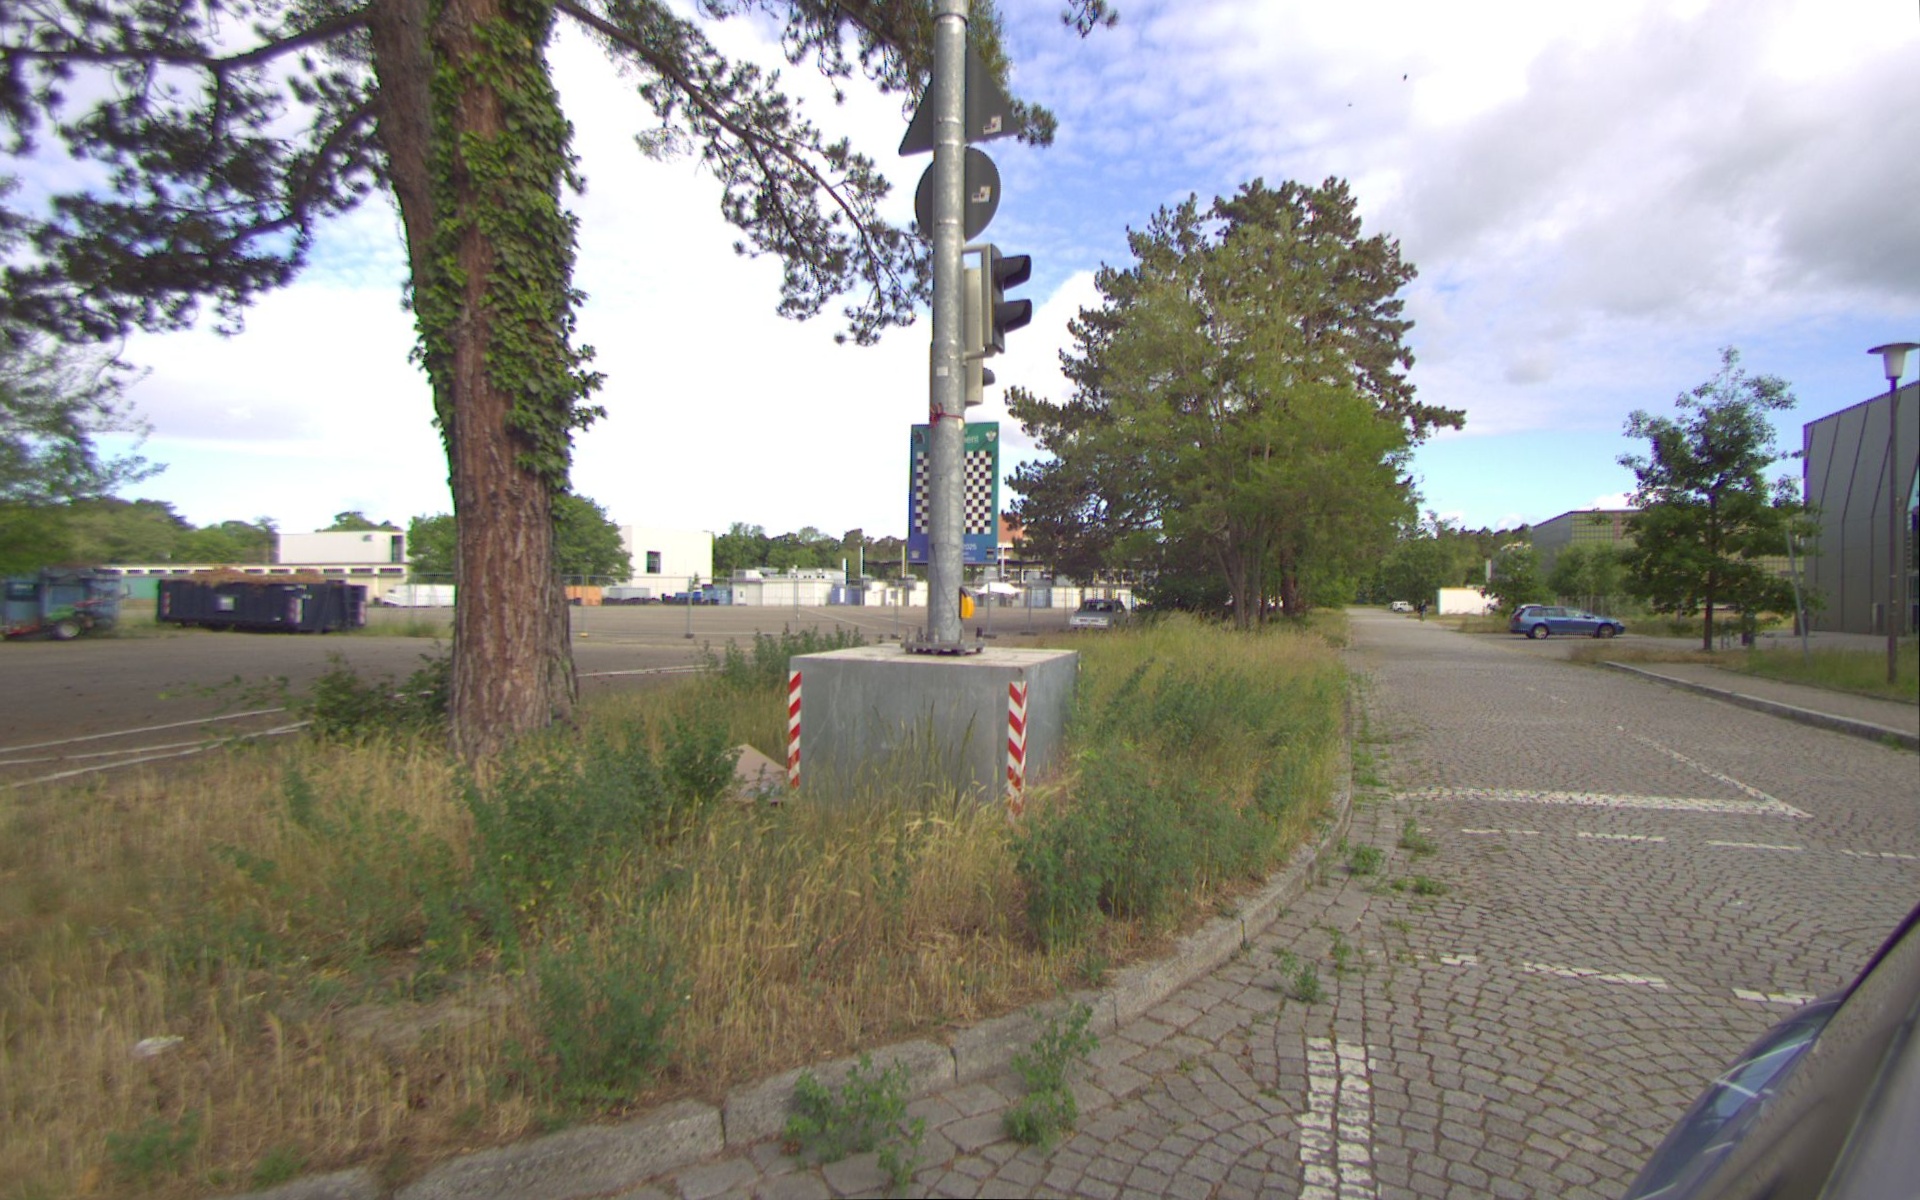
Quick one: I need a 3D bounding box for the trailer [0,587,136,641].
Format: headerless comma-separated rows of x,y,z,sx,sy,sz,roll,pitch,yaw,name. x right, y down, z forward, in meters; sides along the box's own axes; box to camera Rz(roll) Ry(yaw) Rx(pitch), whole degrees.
-20.900,0.330,23.637,1.129,1.185,2.304,0,-1,20,trailer

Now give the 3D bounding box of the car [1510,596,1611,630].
31.032,0.651,52.433,4.142,1.607,1.827,-2,-1,20,car

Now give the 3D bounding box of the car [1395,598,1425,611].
67.785,0.696,152.406,4.038,1.862,1.771,0,0,25,car

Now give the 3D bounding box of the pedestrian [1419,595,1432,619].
34.340,0.537,74.612,0.867,1.745,0.998,0,0,26,pedestrian

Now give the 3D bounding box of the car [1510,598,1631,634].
27.582,0.728,45.874,4.361,1.482,1.827,-2,-1,20,car

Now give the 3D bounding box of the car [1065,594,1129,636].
5.382,0.528,39.294,1.839,1.493,4.128,1,0,17,car

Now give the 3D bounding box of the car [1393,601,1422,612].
68.343,0.970,154.608,4.037,1.594,1.771,0,0,24,car
